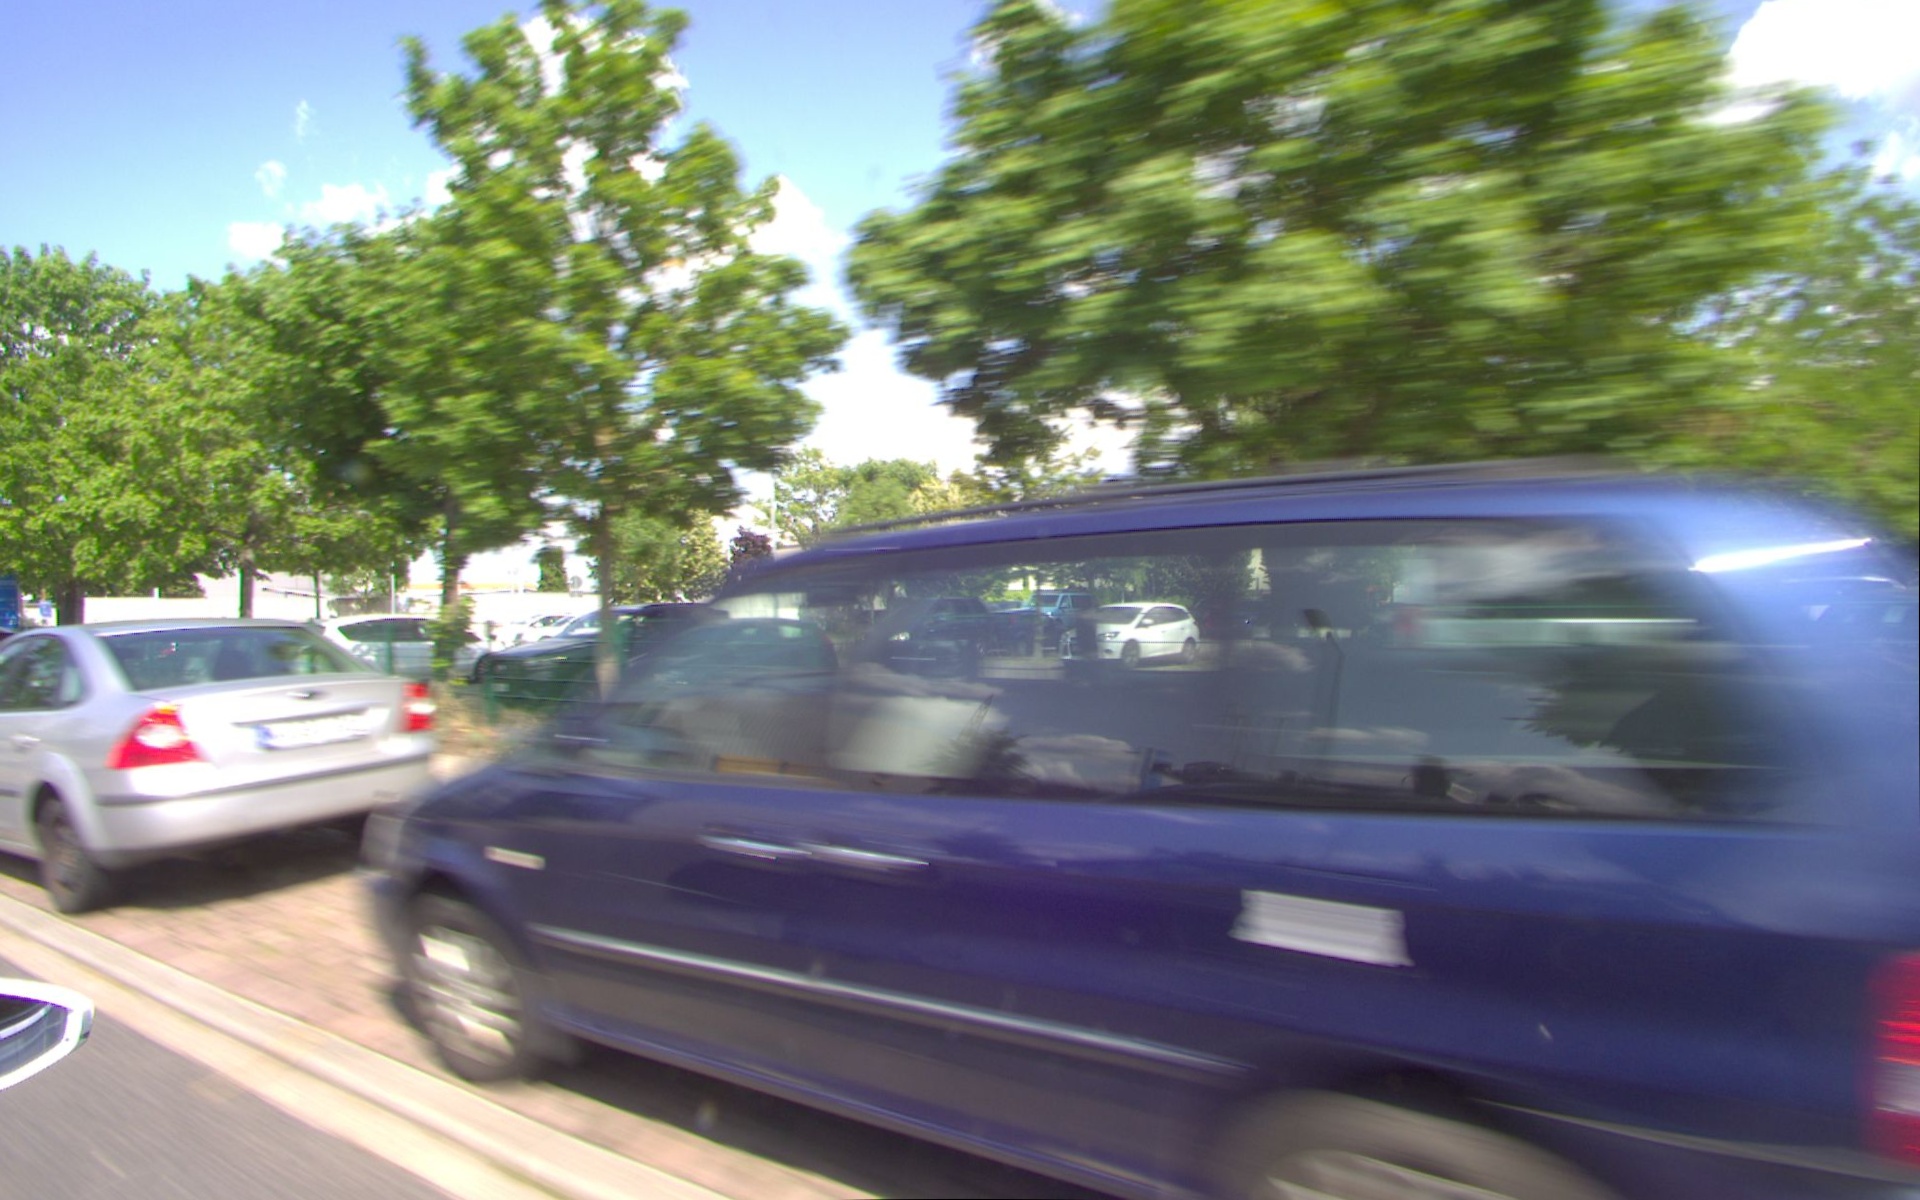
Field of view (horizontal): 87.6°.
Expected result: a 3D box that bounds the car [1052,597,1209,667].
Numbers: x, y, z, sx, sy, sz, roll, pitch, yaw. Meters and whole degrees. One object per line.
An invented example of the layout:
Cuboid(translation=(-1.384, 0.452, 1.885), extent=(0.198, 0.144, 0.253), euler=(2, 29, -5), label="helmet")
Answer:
Cuboid(translation=(4.020, 0.687, 23.154), extent=(1.709, 1.456, 4.141), euler=(-1, -1, 40), label="car")

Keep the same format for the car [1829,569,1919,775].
Cuboid(translation=(8.772, 0.564, 8.238), extent=(1.668, 1.658, 3.982), euler=(-1, 0, 29), label="car")

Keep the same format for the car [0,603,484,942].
Cuboid(translation=(-5.385, 0.853, 6.602), extent=(4.589, 1.512, 1.828), euler=(-2, 1, 32), label="car")

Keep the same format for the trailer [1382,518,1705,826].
Cuboid(translation=(5.458, 0.513, 9.563), extent=(2.031, 2.110, 5.040), euler=(-1, 0, 30), label="trailer")

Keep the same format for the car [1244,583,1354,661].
Cuboid(translation=(9.387, 0.587, 27.529), extent=(1.970, 1.960, 4.073), euler=(-1, -1, 32), label="car")

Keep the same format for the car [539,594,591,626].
Cuboid(translation=(-20.694, 0.541, 52.397), extent=(1.717, 1.569, 3.975), euler=(-1, -1, -34), label="car")

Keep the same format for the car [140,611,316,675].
Cuboid(translation=(-21.223, 1.206, 29.107), extent=(1.890, 1.659, 3.851), euler=(-2, 0, 44), label="car")

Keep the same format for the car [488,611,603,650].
Cuboid(translation=(-16.333, 1.161, 39.543), extent=(3.727, 1.414, 1.995), euler=(-1, 0, -43), label="car")

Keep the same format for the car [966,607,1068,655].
Cuboid(translation=(1.923, 0.995, 32.876), extent=(1.727, 1.432, 3.743), euler=(1, 0, 32), label="car")

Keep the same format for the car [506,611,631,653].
Cuboid(translation=(-14.568, 1.162, 37.382), extent=(3.975, 1.414, 1.827), euler=(-1, 0, -43), label="car")

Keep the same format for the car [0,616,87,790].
Cuboid(translation=(-10.166, 0.974, 9.766), extent=(3.898, 1.515, 1.679), euler=(-2, 1, 37), label="car")

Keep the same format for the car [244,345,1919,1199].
Cuboid(translation=(-0.048, 0.588, 3.210), extent=(5.005, 1.789, 1.845), euler=(-2, 2, 32), label="car")

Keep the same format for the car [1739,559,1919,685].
Cuboid(translation=(14.414, 0.308, 16.479), extent=(1.887, 1.790, 4.842), euler=(-1, 0, 31), label="car")

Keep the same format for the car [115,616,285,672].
Cuboid(translation=(-24.934, 1.415, 32.940), extent=(1.890, 1.614, 4.183), euler=(-2, 0, 44), label="car")

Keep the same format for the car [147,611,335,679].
Cuboid(translation=(-19.459, 1.180, 27.193), extent=(1.890, 1.614, 3.851), euler=(-2, 0, 44), label="car")

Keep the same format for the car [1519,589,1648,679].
Cuboid(translation=(11.188, 0.545, 18.110), extent=(1.777, 1.441, 3.980), euler=(-1, 0, 31), label="car")

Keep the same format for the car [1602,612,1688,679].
Cuboid(translation=(15.846, 0.993, 23.297), extent=(1.462, 1.392, 3.979), euler=(-1, -1, 32), label="car")

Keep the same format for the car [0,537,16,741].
Cuboid(translation=(-14.918, 0.588, 13.544), extent=(6.559, 2.498, 2.148), euler=(-2, 1, 39), label="car")

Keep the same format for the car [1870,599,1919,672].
Cuboid(translation=(20.131, 0.673, 20.362), extent=(1.694, 1.392, 3.979), euler=(-1, -1, 32), label="car")

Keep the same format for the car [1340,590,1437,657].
Cuboid(translation=(11.745, 0.612, 27.312), extent=(1.830, 1.687, 3.979), euler=(-1, -1, 32), label="car")

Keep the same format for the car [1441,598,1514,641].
Cuboid(translation=(17.809, 0.660, 34.386), extent=(1.873, 1.392, 3.978), euler=(-1, -1, 33), label="car")

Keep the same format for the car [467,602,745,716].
Cuboid(translation=(-5.868, 0.951, 17.123), extent=(1.830, 1.692, 4.319), euler=(-1, -2, 32), label="car")

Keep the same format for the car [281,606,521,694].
Cuboid(translation=(-12.197, 1.023, 22.147), extent=(1.738, 1.643, 4.306), euler=(-1, 1, 32), label="car")

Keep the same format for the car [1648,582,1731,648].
Cuboid(translation=(31.413, 0.717, 43.285), extent=(2.712, 2.631, 5.764), euler=(-1, -2, 35), label="car")

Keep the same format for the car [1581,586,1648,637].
Cuboid(translation=(24.321, 0.479, 37.193), extent=(1.973, 1.792, 3.978), euler=(-1, -2, 34), label="car")

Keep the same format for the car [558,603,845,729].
Cuboid(translation=(-3.764, 0.894, 15.362), extent=(1.606, 1.516, 4.315), euler=(-1, 1, 32), label="car")

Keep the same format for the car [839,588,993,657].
Cuboid(translation=(-1.054, 0.575, 26.638), extent=(1.813, 1.662, 4.468), euler=(-1, -1, 34), label="car")
